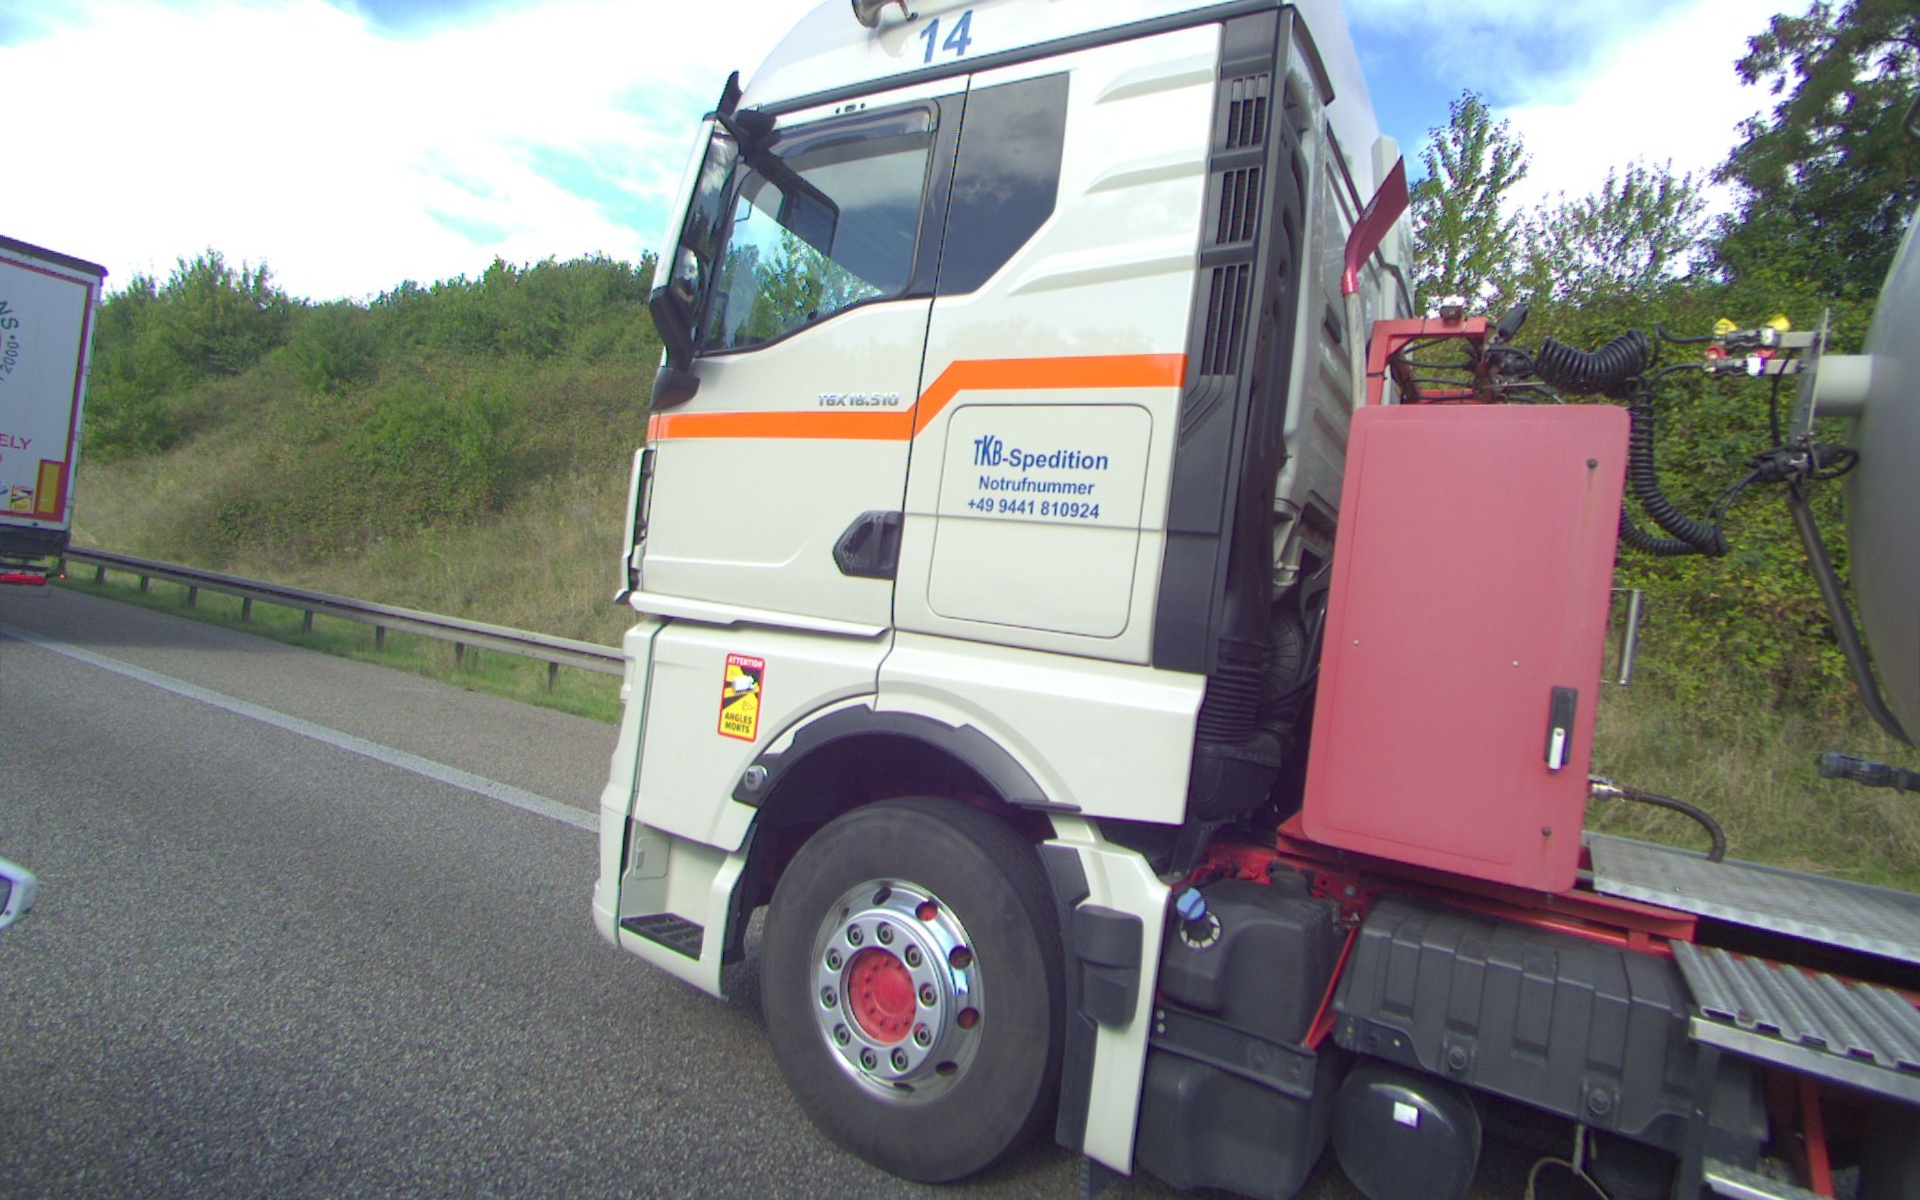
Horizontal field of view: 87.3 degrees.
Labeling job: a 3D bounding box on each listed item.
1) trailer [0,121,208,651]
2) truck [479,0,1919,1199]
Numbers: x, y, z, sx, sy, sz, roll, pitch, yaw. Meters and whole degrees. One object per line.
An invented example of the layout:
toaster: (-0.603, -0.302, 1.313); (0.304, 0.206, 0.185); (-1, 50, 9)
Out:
trailer: (-14.451, -2.631, 12.493); (13.066, 4.716, 3.008); (7, -1, 31)
truck: (1.844, -0.313, 2.942); (5.806, 4.091, 2.807); (7, -1, 32)
